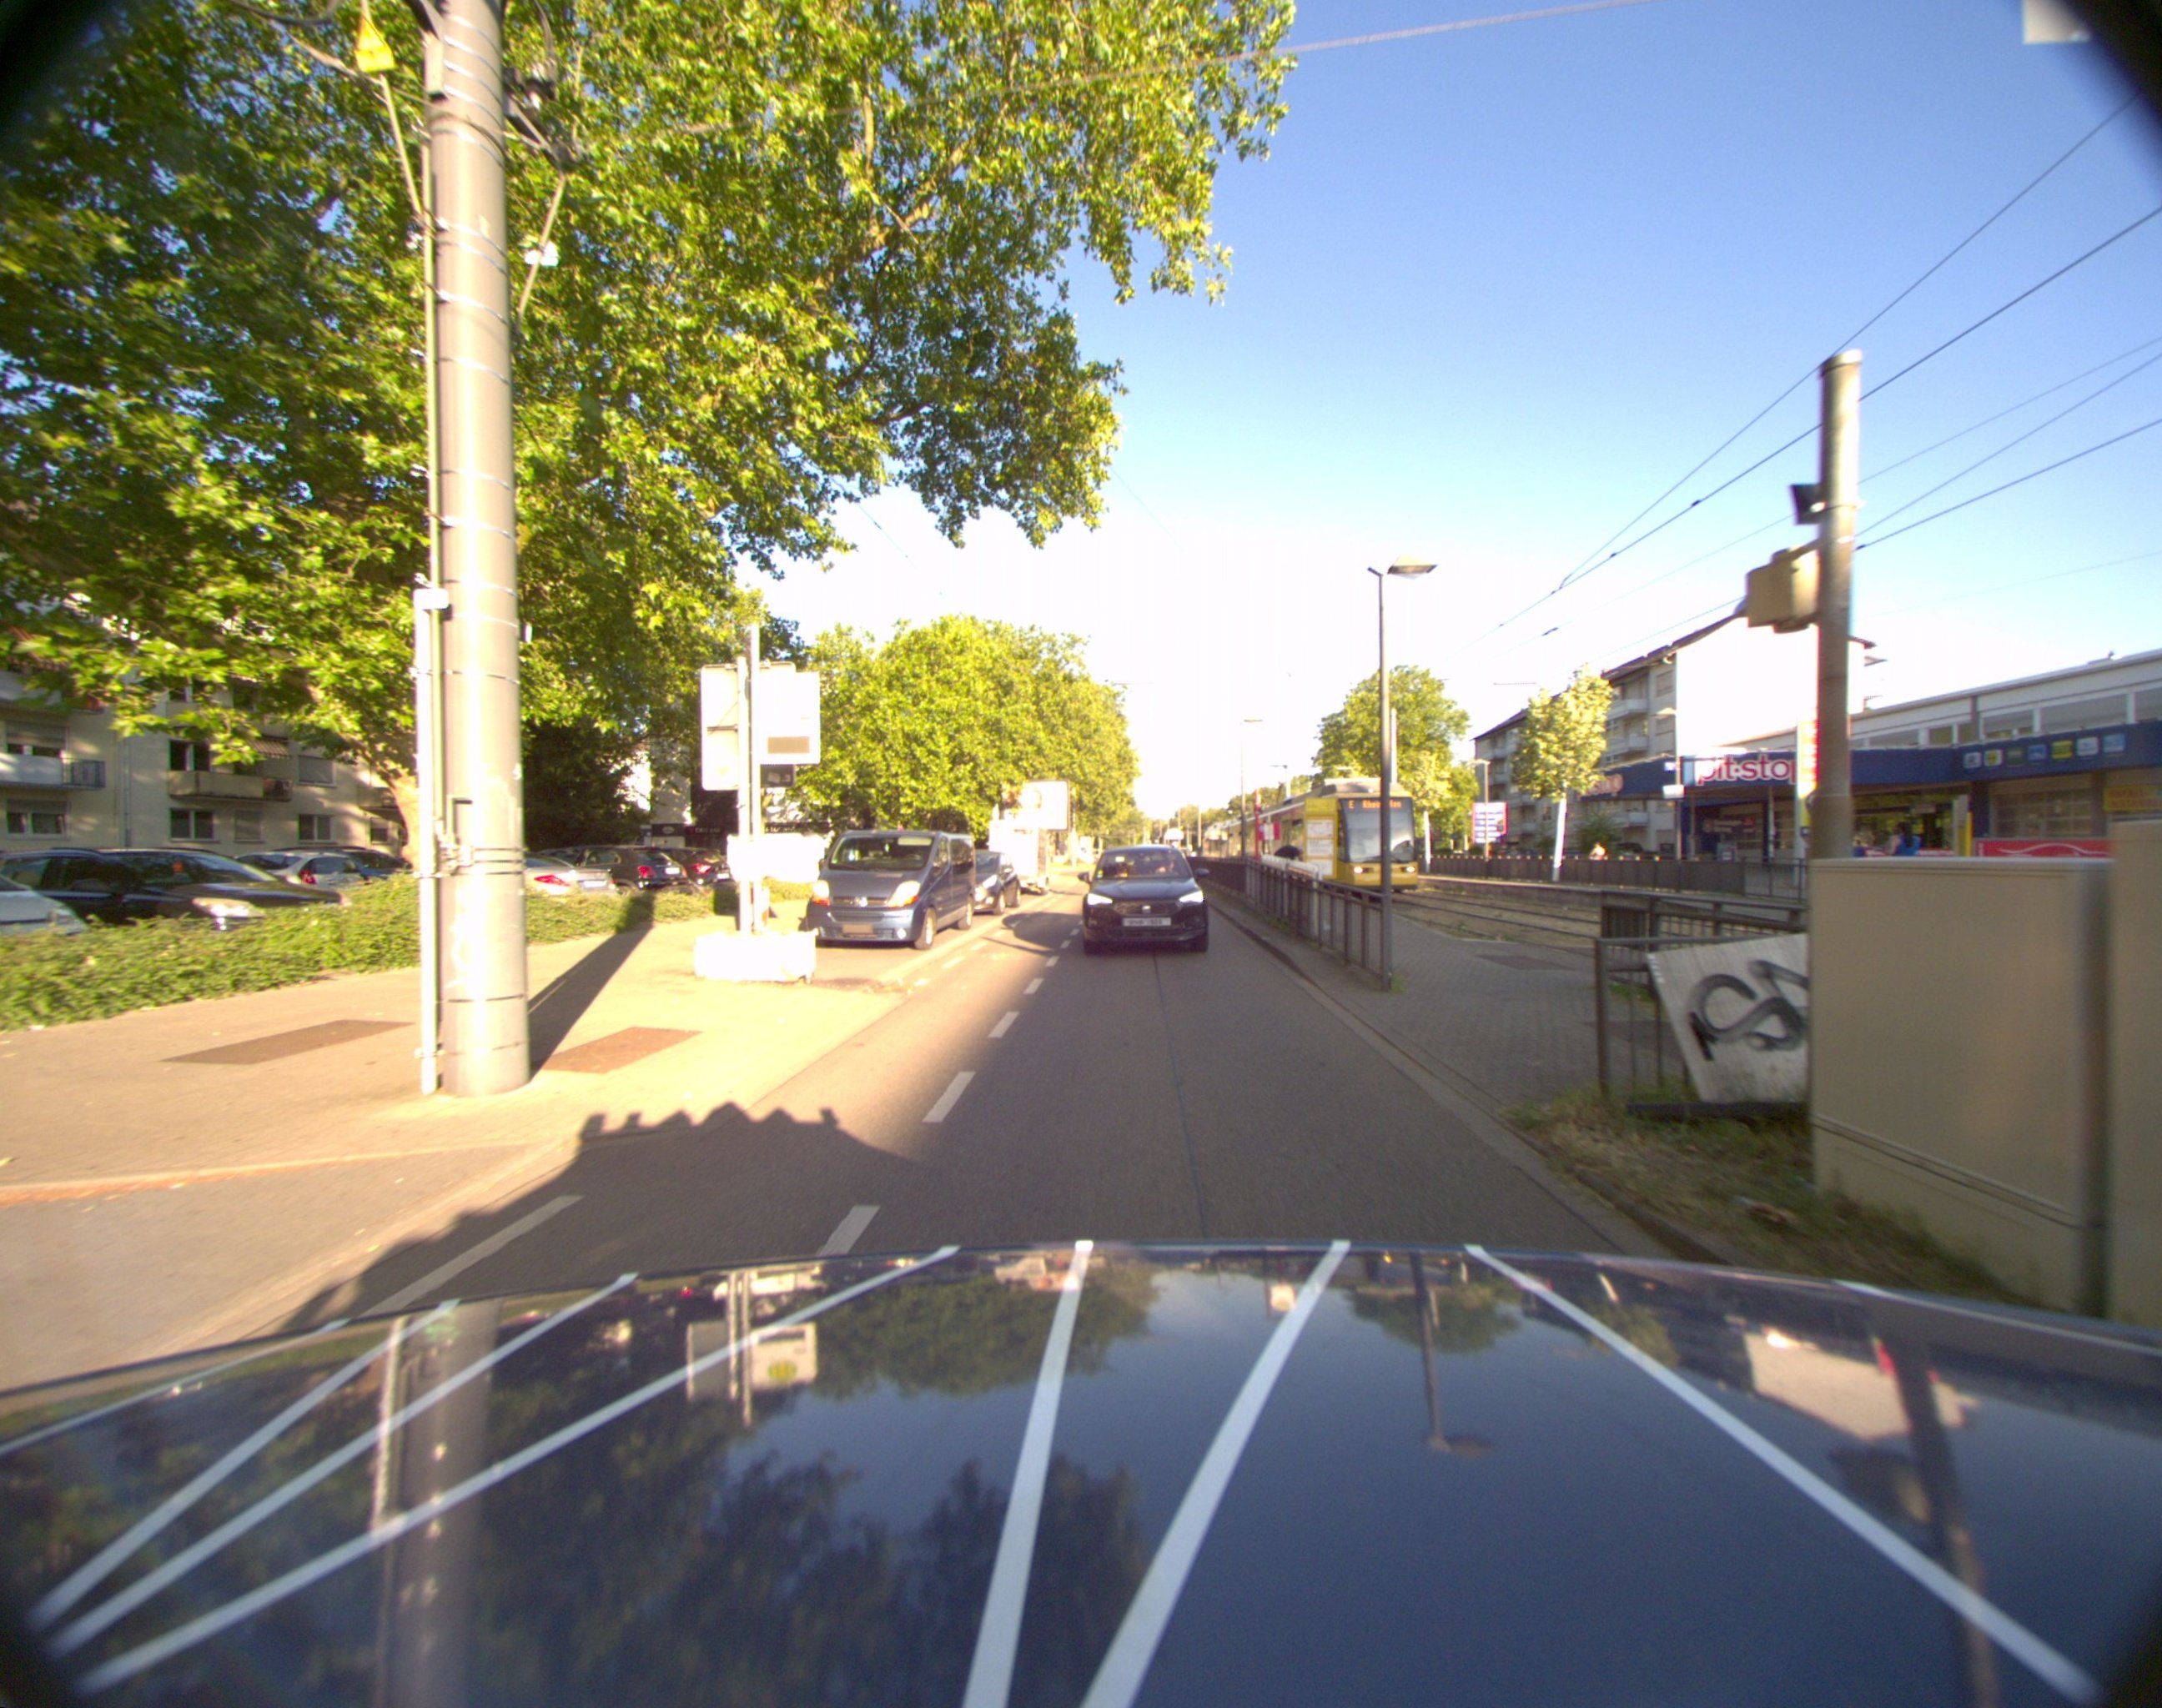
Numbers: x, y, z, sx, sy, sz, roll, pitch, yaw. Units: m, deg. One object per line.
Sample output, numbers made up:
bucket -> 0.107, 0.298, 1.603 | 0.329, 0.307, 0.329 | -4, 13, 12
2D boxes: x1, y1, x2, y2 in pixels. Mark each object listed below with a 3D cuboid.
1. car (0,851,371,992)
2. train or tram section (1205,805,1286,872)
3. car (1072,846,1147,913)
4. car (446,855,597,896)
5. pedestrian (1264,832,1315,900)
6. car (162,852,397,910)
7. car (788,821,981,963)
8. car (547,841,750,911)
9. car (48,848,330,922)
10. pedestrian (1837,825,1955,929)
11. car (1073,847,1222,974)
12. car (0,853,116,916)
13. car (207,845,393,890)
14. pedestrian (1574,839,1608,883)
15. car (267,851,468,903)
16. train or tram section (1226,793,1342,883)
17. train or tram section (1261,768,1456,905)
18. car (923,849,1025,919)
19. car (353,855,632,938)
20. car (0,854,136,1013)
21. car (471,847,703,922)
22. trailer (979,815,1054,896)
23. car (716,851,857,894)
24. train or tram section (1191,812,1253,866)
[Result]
car -> -11.352, 0.719, 9.130 | 4.120, 1.486, 1.803 | 0, 1, 5
train or tram section -> 9.422, -0.893, 44.807 | 3.042, 3.497, 10.097 | 1, 1, 3
car -> 0.905, 0.634, 21.777 | 1.889, 1.656, 4.854 | -1, 0, 4
car -> -21.426, 0.795, 29.242 | 4.292, 1.487, 2.000 | 0, 1, 0
pedestrian -> 4.861, 0.266, 17.781 | 0.918, 1.541, 0.789 | -2, 1, -4
car -> -21.872, 0.709, 20.881 | 4.292, 1.487, 2.000 | 0, 1, 0
car -> -3.176, 0.545, 13.382 | 1.889, 2.066, 4.564 | 0, 1, 4
car -> -10.940, 0.532, 19.391 | 4.120, 1.541, 1.803 | -3, 0, 5
car -> -21.500, 0.708, 18.472 | 4.453, 1.681, 2.000 | 0, 1, 0
pedestrian -> 13.676, 0.379, 12.782 | 0.936, 1.644, 0.926 | -3, 1, 4
car -> 0.908, 0.748, 12.146 | 1.910, 1.606, 4.085 | -3, 0, 1
car -> -27.563, 0.735, 19.003 | 4.292, 1.487, 1.982 | 0, 1, 0
car -> -26.595, 0.431, 26.003 | 4.292, 1.487, 2.000 | 0, 1, 0
pedestrian -> 22.257, 0.290, 33.203 | 0.754, 1.871, 1.000 | -3, 1, 3
car -> -21.847, 0.672, 23.416 | 4.292, 1.526, 2.000 | 0, 1, 0
train or tram section -> 8.881, -0.720, 34.712 | 3.042, 3.497, 10.097 | 1, 1, 3
train or tram section -> 8.333, -0.534, 24.622 | 3.042, 3.497, 10.097 | 1, 1, 3
car -> -2.659, 0.698, 19.755 | 1.799, 1.621, 4.001 | 0, 1, 4
car -> -11.266, 0.770, 14.724 | 4.120, 1.486, 1.803 | 0, 1, 5
car -> -11.631, 0.795, 7.003 | 3.848, 1.428, 1.804 | -2, -1, 5
car -> -11.019, 0.647, 17.118 | 4.120, 1.590, 1.803 | 0, 1, 5
trailer -> -2.142, 0.037, 26.560 | 1.889, 2.573, 4.652 | 0, 1, 4
car -> -10.534, 0.642, 27.417 | 4.291, 1.487, 2.000 | 0, 1, 1
train or tram section -> 9.971, -1.076, 54.900 | 3.042, 3.497, 10.097 | 1, 1, 3
